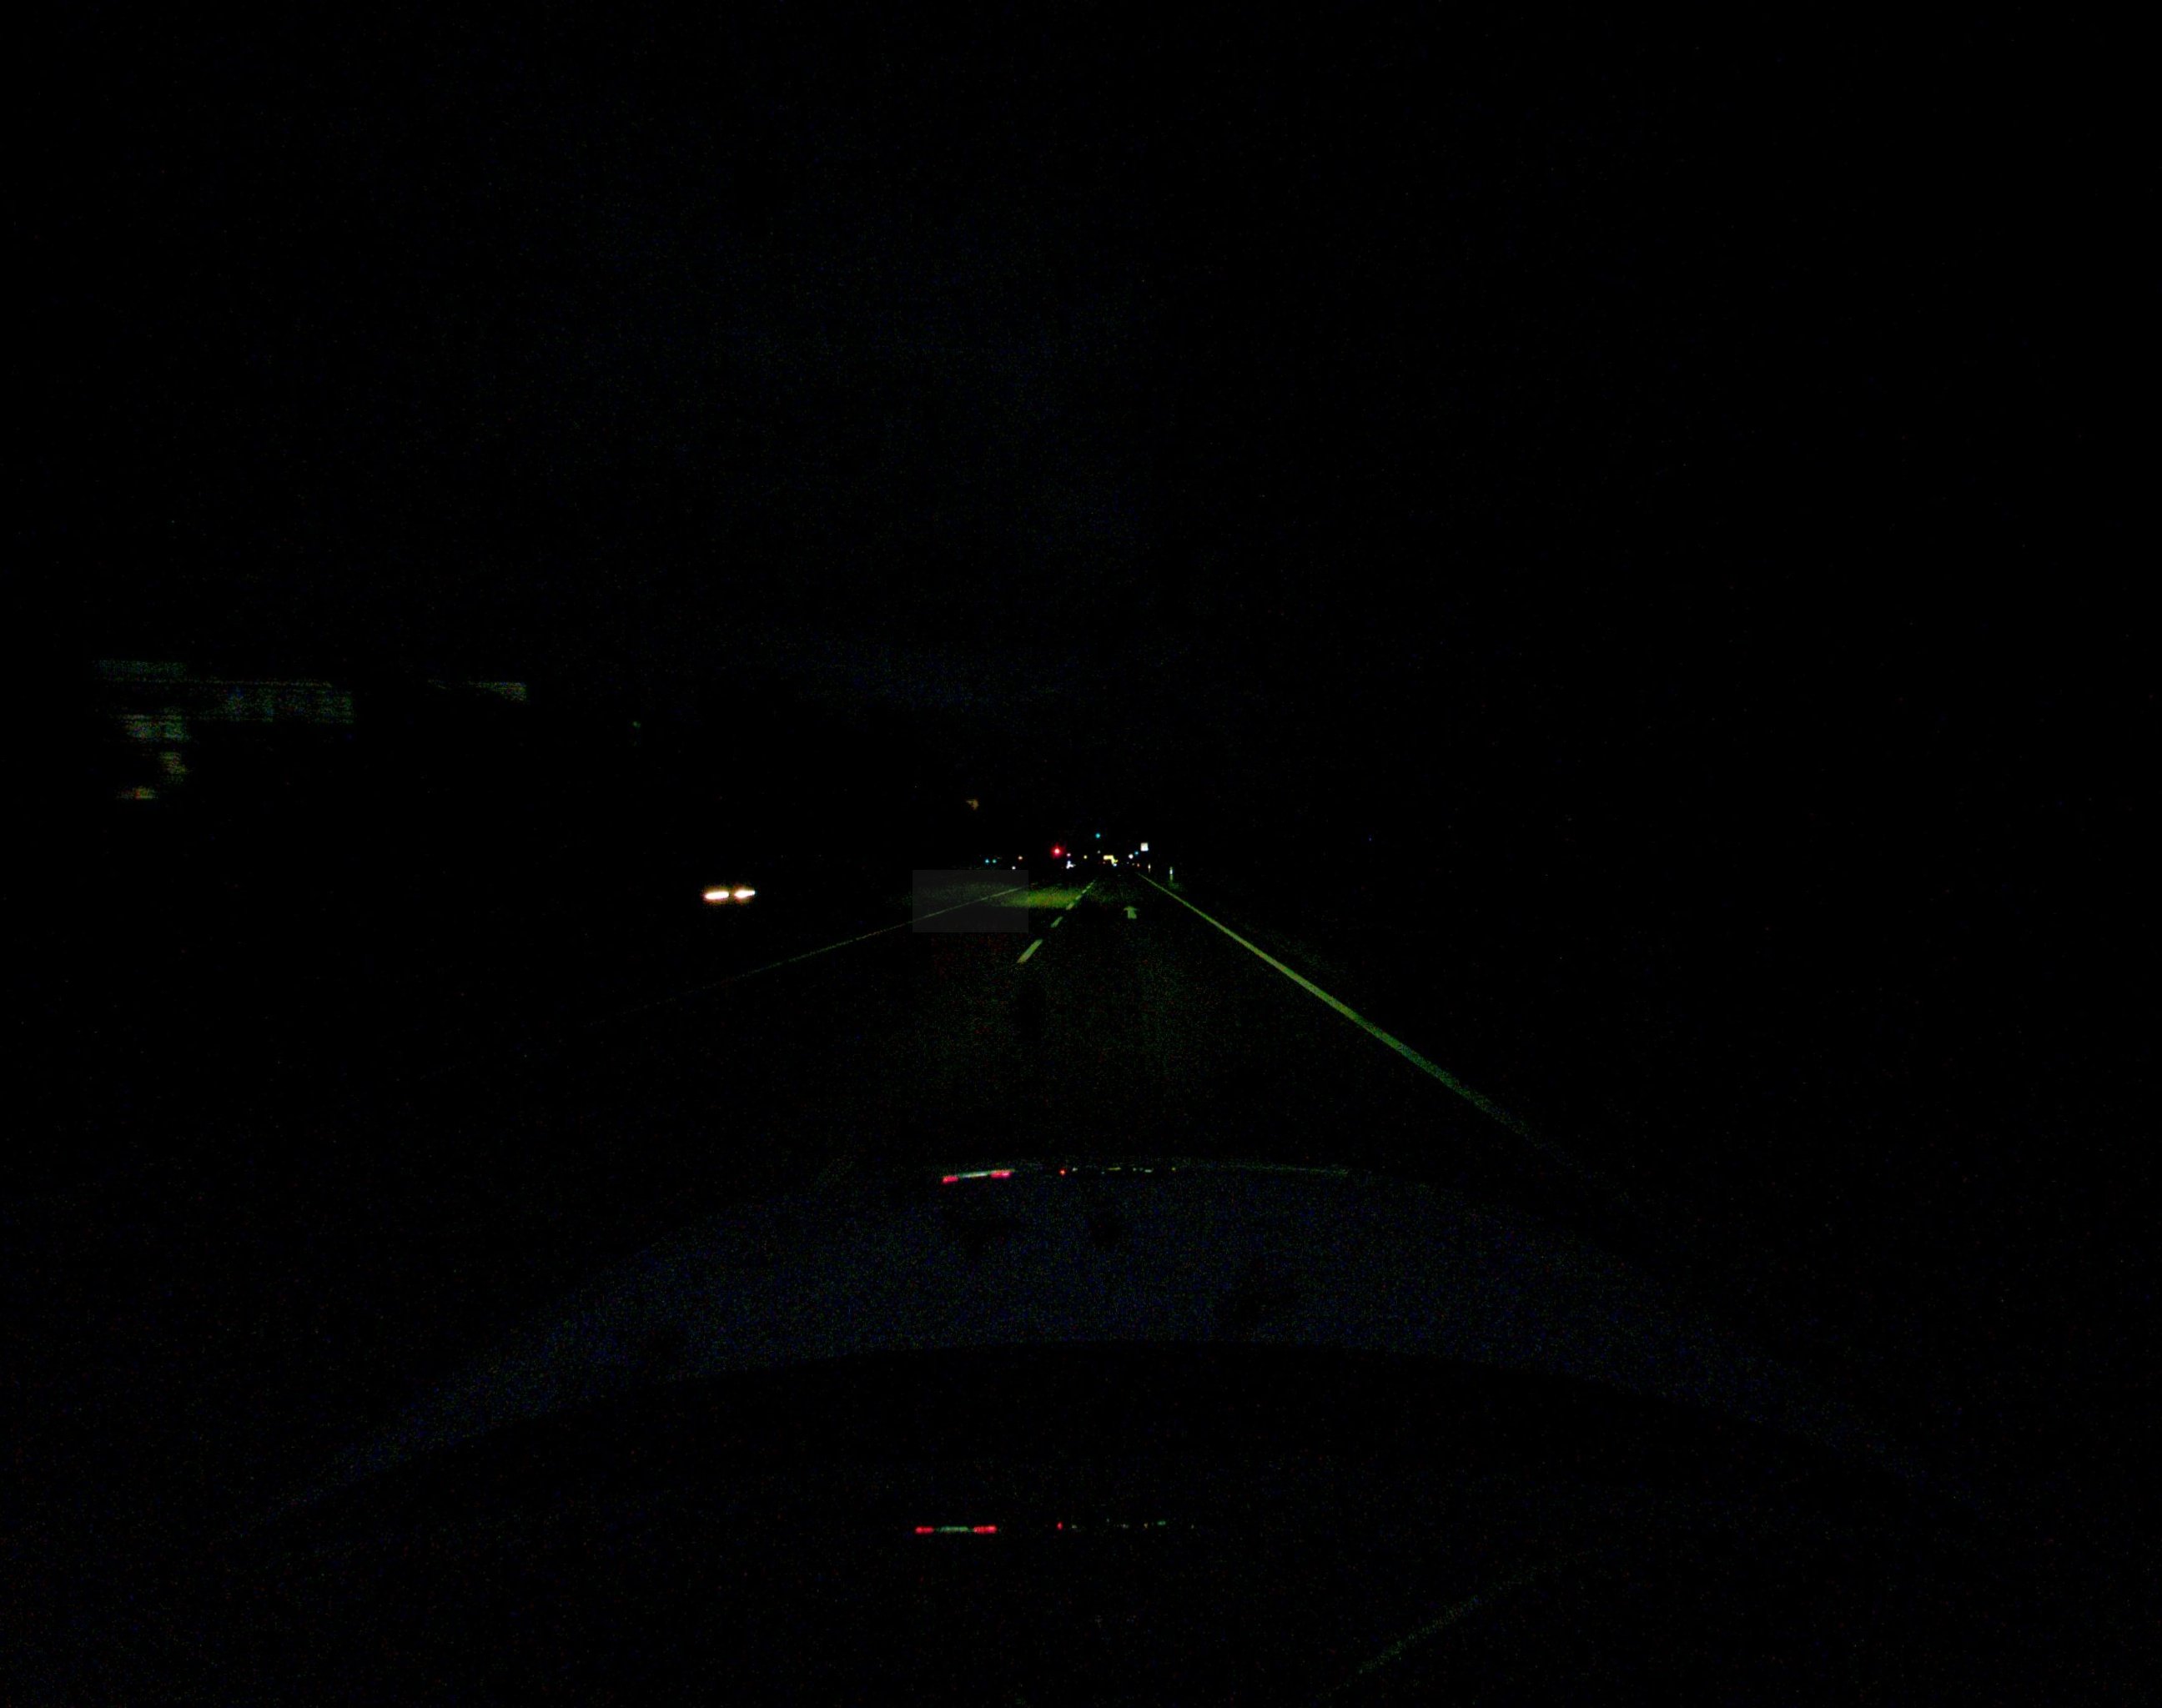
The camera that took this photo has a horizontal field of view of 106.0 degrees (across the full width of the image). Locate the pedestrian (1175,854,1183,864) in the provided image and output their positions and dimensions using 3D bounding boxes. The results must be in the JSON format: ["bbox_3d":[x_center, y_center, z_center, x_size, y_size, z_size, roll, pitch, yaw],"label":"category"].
[{"bbox_3d":[16.514,0.891,137.262,1.087,1.723,1.261,-1,-1,1],"label":"pedestrian"}]

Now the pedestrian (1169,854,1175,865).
[{"bbox_3d":[15.420,0.946,137.554,0.918,1.793,1.107,-1,0,2],"label":"pedestrian"}]

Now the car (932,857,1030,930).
[{"bbox_3d":[-2.240,0.835,19.412,1.636,1.490,4.581,-1,0,1],"label":"car"}]

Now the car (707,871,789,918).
[{"bbox_3d":[-13.954,1.638,34.409,1.663,1.758,4.002,-1,0,2],"label":"car"}]
